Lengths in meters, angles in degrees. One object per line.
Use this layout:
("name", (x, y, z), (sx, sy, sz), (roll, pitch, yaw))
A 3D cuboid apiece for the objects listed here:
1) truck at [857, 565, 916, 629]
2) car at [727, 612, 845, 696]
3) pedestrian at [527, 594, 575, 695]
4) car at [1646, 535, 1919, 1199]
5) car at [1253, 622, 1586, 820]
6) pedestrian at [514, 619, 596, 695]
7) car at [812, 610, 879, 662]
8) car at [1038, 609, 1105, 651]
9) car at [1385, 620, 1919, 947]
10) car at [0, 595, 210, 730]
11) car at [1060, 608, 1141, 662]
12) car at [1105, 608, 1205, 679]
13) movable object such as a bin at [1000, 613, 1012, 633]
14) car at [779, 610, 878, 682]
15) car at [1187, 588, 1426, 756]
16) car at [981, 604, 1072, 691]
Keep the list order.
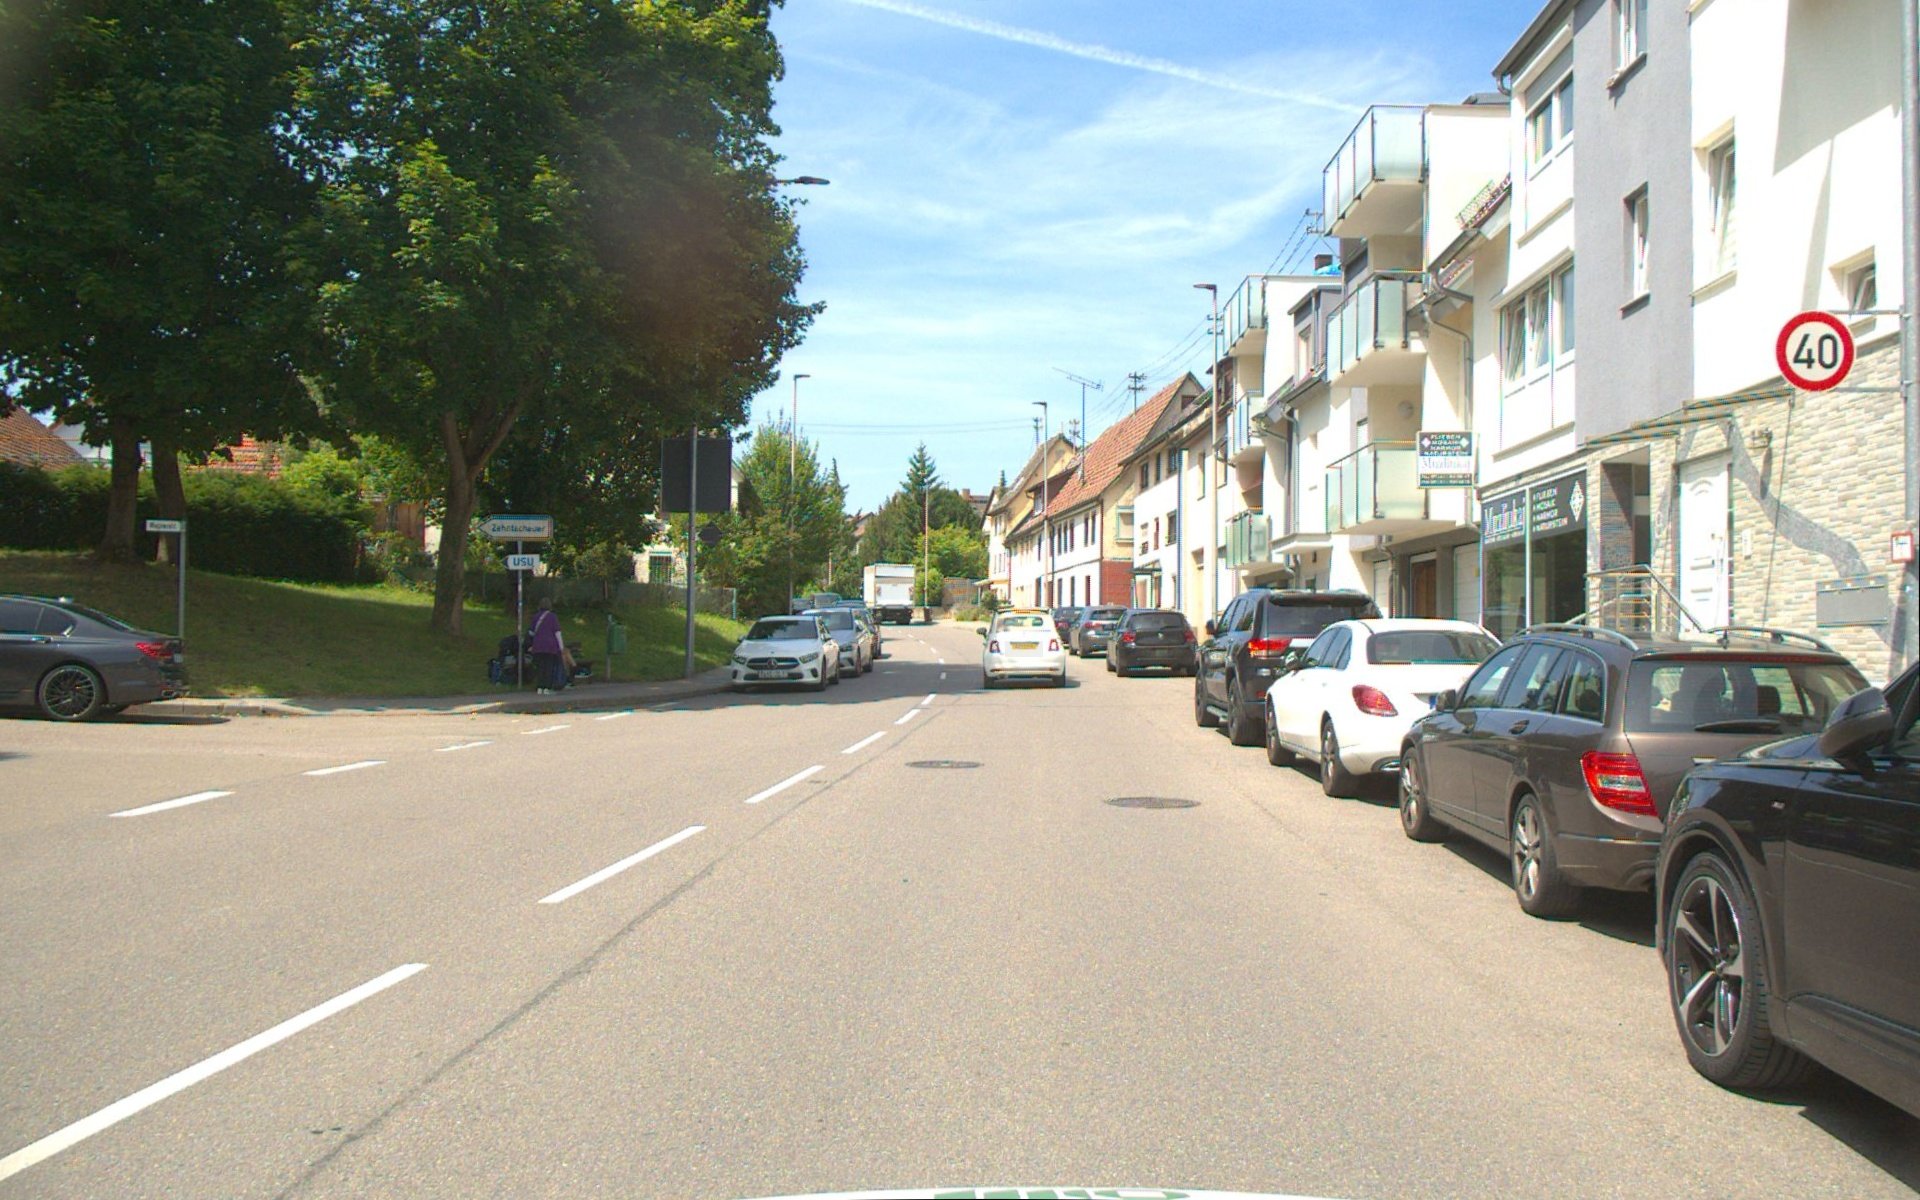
("truck", (-4.679, -0.130, 103.920), (3.011, 3.840, 7.852), (0, -1, -8))
("car", (-3.353, 1.016, 32.550), (1.718, 1.493, 4.363), (-1, 0, 2))
("pedestrian", (-6.777, 0.732, 27.433), (0.718, 1.645, 0.627), (2, -1, -15))
("car", (3.307, 0.699, 3.681), (1.805, 1.699, 4.657), (1, -1, 3))
("car", (3.945, 0.962, 15.059), (1.752, 1.481, 4.716), (0, 0, 0))
("pedestrian", (-7.148, 1.002, 29.234), (1.210, 1.291, 0.647), (2, -1, 6))
("car", (-3.438, 1.057, 50.539), (1.768, 1.448, 4.927), (-1, 0, -1))
("car", (3.756, 0.990, 56.237), (1.633, 1.376, 4.182), (1, 0, -5))
("car", (3.824, 0.858, 9.702), (1.751, 1.445, 4.359), (0, 0, 3))
("car", (-12.177, 0.693, 20.755), (4.699, 1.505, 1.991), (4, -2, -17))
("car", (3.964, 0.961, 47.280), (1.758, 1.427, 4.409), (-1, 0, -3))
("car", (4.226, 0.939, 36.441), (1.760, 1.449, 4.290), (-1, -1, 1))
("movable object such as a bin", (2.432, 1.208, 88.014), (0.536, 1.051, 0.551), (-2, 0, -7))
("car", (-3.016, 1.039, 38.784), (1.735, 1.554, 4.223), (-1, 0, 3))
("car", (4.076, 0.796, 20.249), (1.913, 1.746, 4.716), (2, 0, 0))
("car", (1.317, 0.905, 33.066), (1.689, 1.587, 4.001), (-1, 0, 2))
